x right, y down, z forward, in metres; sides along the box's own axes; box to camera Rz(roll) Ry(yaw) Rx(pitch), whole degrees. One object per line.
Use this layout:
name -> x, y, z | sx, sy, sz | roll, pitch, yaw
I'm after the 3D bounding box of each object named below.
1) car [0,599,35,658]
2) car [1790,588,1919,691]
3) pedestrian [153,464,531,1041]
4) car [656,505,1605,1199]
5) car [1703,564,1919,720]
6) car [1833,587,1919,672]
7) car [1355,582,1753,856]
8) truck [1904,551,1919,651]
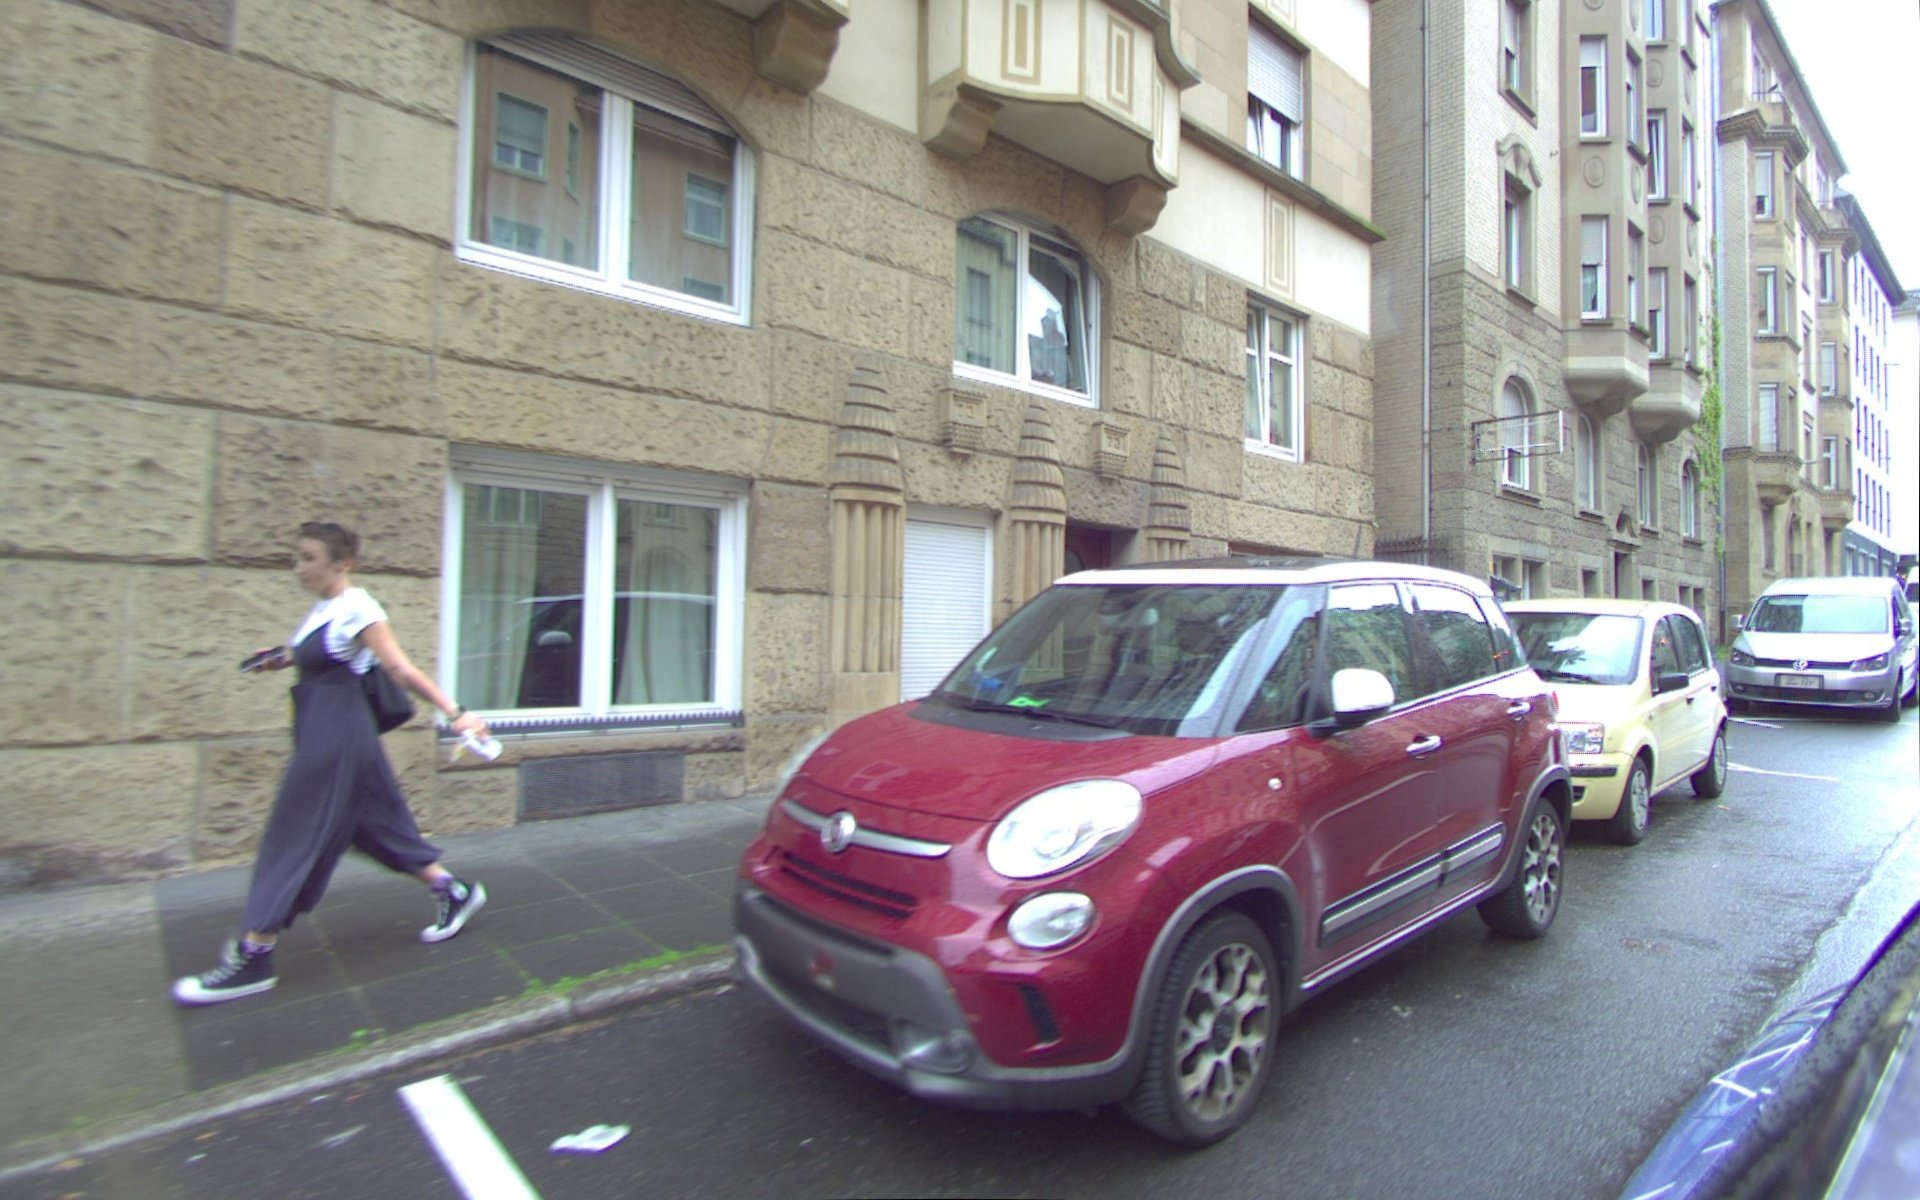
car -> -26.841, 0.765, 28.002 | 1.692, 1.541, 4.098 | 0, -1, -40
car -> 15.505, 0.596, 17.004 | 3.934, 1.549, 1.994 | 0, -1, -45
pedestrian -> -2.275, 0.459, 3.746 | 1.092, 1.770, 0.743 | 0, 0, -41
car -> 1.000, 0.613, 4.148 | 3.932, 1.619, 1.804 | 0, -1, -42
car -> 12.094, 0.497, 14.016 | 4.380, 1.825, 1.966 | 0, -1, -41
car -> 18.814, 0.542, 19.940 | 3.860, 1.549, 1.889 | 0, -1, -41
car -> 4.524, 0.675, 7.506 | 3.517, 1.549, 1.578 | 0, -1, -43
truck -> 27.507, 0.014, 27.370 | 6.035, 2.568, 2.234 | 0, -1, -41
